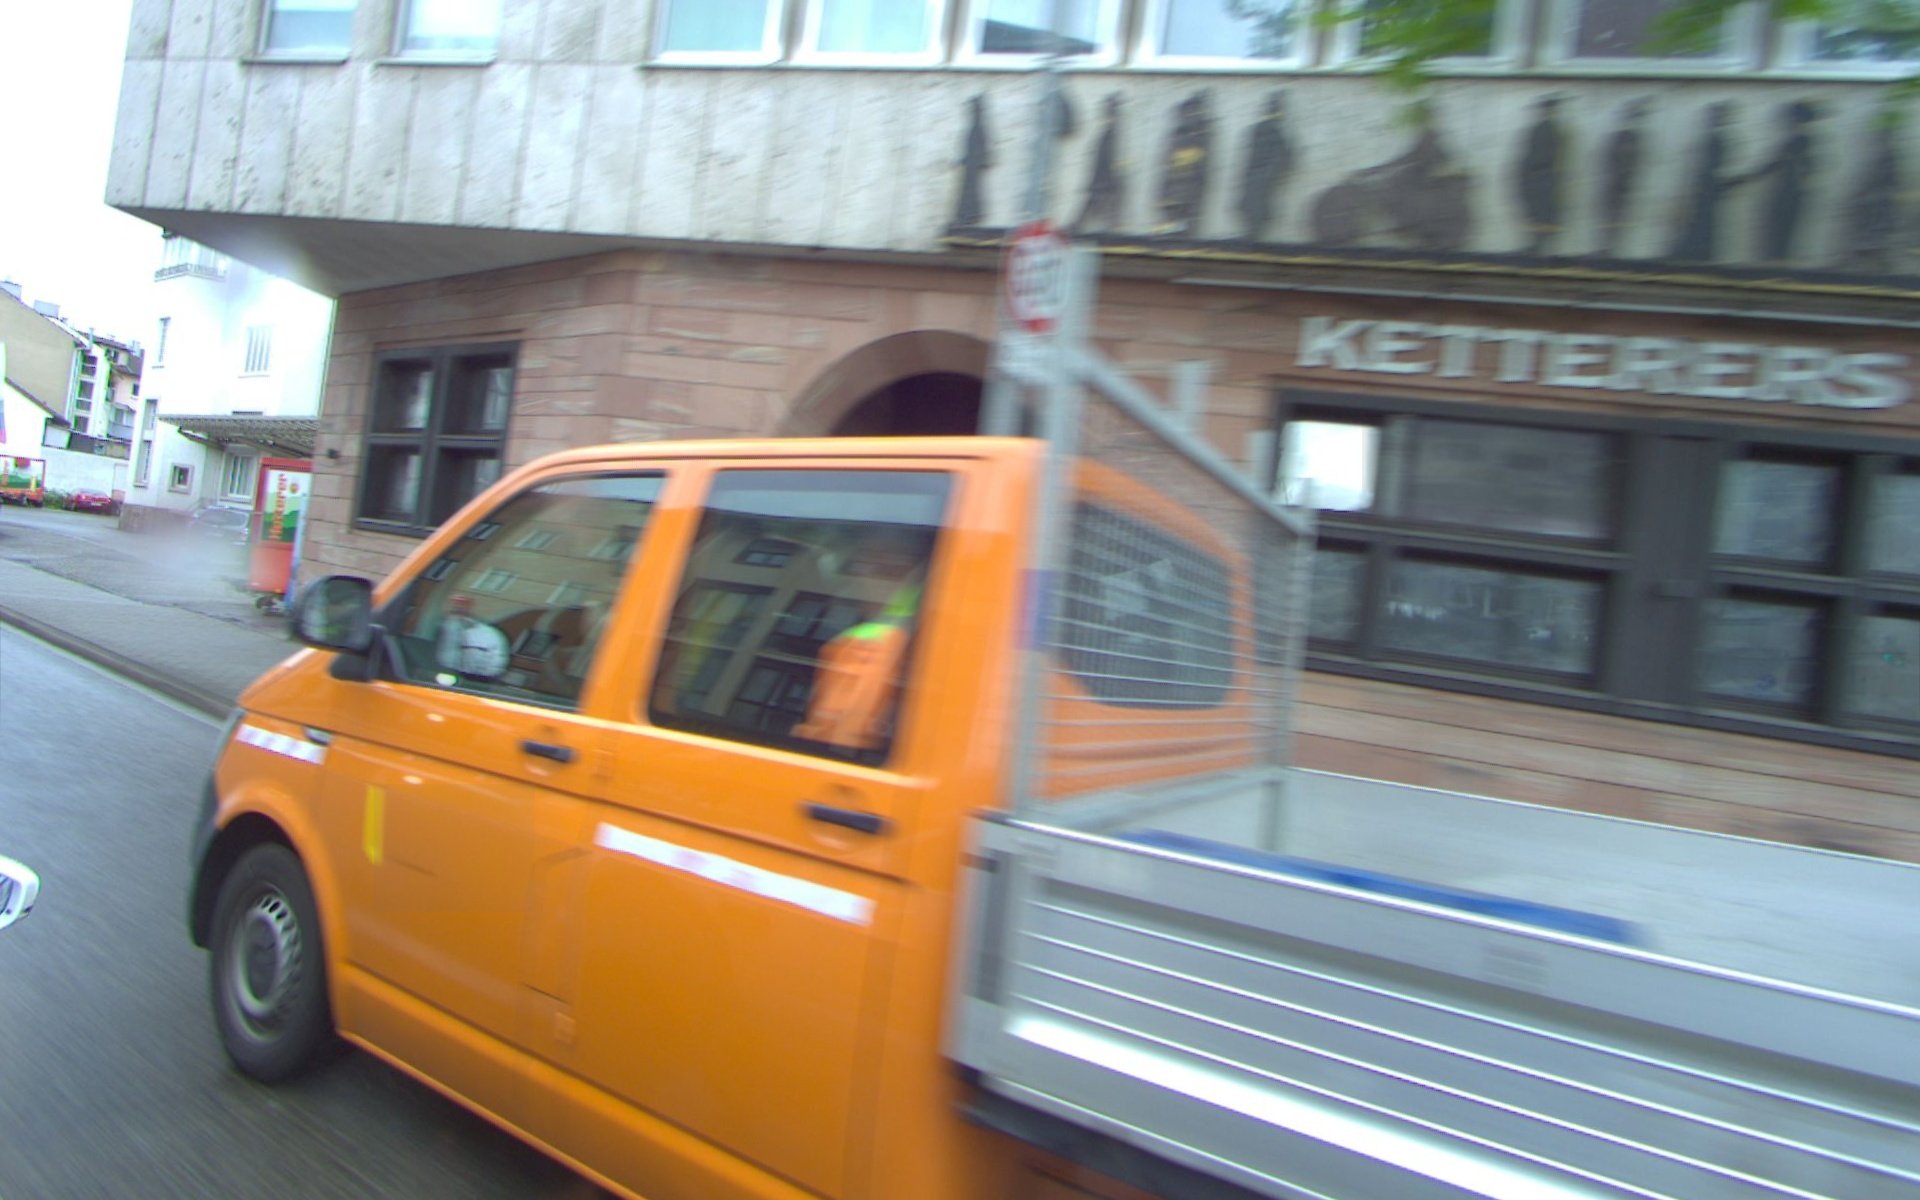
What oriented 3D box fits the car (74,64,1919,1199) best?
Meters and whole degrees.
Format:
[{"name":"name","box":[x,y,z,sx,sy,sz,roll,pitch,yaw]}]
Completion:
[{"name":"car","box":[0.033,0.430,2.726,5.450,2.116,2.103,7,1,32]}]

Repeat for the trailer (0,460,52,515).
[{"name":"trailer","box":[-54.053,-6.519,57.585,5.311,2.751,2.124,8,2,39]}]

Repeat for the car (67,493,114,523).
[{"name":"car","box":[-51.422,-5.453,59.485,3.218,1.474,1.588,7,0,40]}]

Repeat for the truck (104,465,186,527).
[{"name":"truck","box":[-50.218,-6.444,61.922,6.831,3.256,2.628,7,1,41]}]
